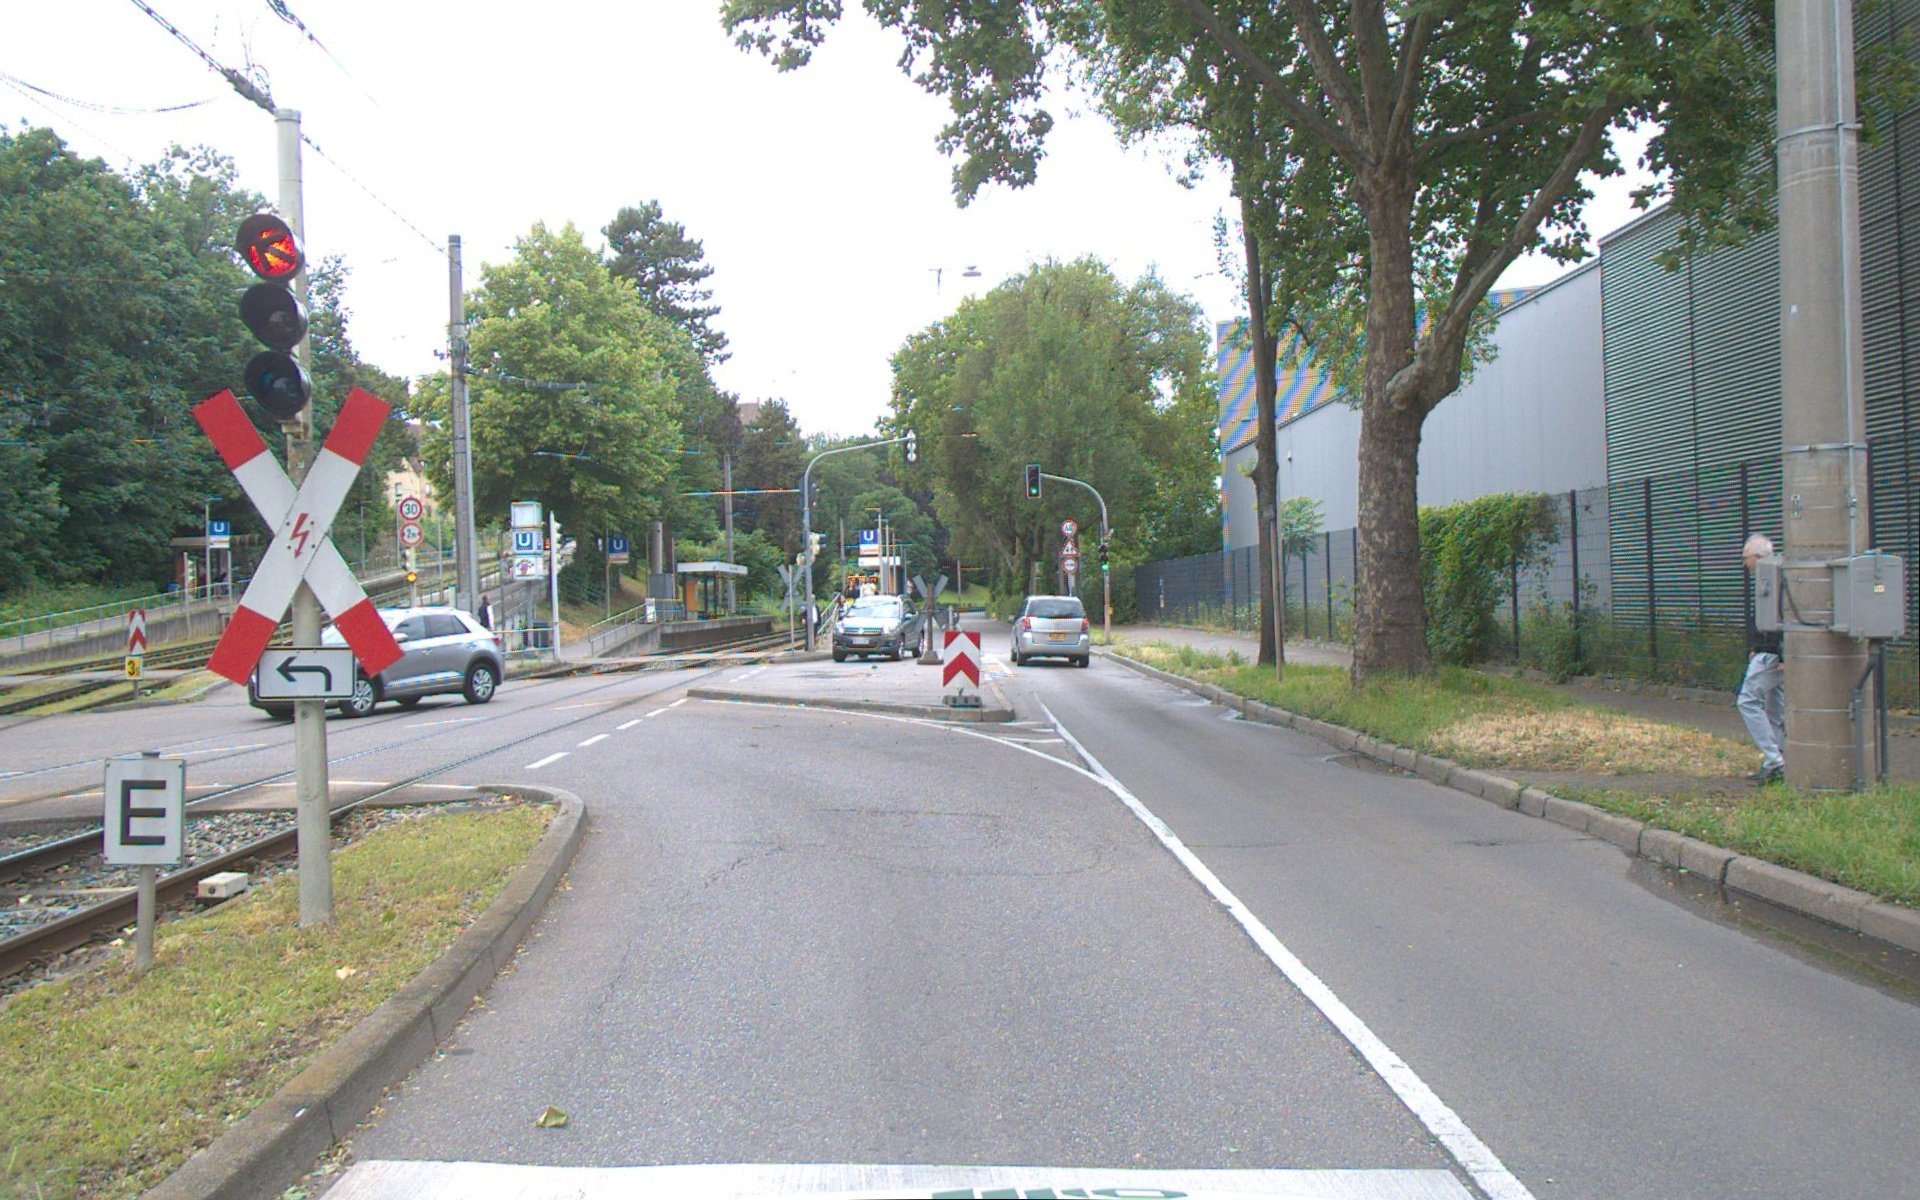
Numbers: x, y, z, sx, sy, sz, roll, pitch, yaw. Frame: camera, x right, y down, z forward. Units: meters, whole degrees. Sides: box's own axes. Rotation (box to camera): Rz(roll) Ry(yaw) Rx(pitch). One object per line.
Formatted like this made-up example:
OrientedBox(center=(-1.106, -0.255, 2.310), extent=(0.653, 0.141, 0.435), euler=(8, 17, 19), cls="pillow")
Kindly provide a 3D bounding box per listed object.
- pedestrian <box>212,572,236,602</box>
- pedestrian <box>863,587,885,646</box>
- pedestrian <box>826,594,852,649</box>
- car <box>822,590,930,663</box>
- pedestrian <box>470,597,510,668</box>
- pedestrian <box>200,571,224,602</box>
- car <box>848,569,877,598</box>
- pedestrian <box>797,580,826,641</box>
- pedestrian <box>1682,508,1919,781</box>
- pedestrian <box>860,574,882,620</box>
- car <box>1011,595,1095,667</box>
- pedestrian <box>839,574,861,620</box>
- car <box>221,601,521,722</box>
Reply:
OrientedBox(center=(-33.541, -0.607, 75.376), extent=(0.757, 1.349, 0.785), euler=(1, 0, -9), cls="pedestrian")
OrientedBox(center=(-2.633, 0.503, 50.744), extent=(0.538, 1.789, 0.738), euler=(1, -1, 4), cls="pedestrian")
OrientedBox(center=(-3.793, 0.666, 51.964), extent=(0.720, 1.694, 0.682), euler=(1, -1, 2), cls="pedestrian")
OrientedBox(center=(-2.136, 0.689, 43.384), extent=(1.859, 1.748, 4.140), euler=(-3, -1, 10), cls="car")
OrientedBox(center=(-12.470, 0.854, 43.873), extent=(0.798, 1.853, 0.660), euler=(1, -1, -41), cls="pedestrian")
OrientedBox(center=(-33.500, -0.611, 74.069), extent=(0.757, 1.349, 0.786), euler=(1, 2, -9), cls="pedestrian")
OrientedBox(center=(-7.254, -1.208, 123.615), extent=(1.953, 2.049, 3.999), euler=(1, 0, -1), cls="car")
OrientedBox(center=(-4.191, 0.292, 46.828), extent=(0.720, 1.694, 0.682), euler=(1, -1, 1), cls="pedestrian")
OrientedBox(center=(6.106, 0.335, 11.996), extent=(1.100, 1.789, 0.809), euler=(-7, -4, -17), cls="pedestrian")
OrientedBox(center=(-3.354, -0.115, 62.602), extent=(0.722, 1.694, 0.680), euler=(1, -1, -11), cls="pedestrian")
OrientedBox(center=(2.185, 0.712, 39.827), extent=(1.708, 1.627, 3.999), euler=(1, 0, -1), cls="car")
OrientedBox(center=(-4.096, -0.094, 61.617), extent=(0.722, 1.694, 0.680), euler=(1, -1, -11), cls="pedestrian")
OrientedBox(center=(-9.006, 0.904, 25.671), extent=(1.954, 1.606, 4.174), euler=(-2, 1, 26), cls="car")
